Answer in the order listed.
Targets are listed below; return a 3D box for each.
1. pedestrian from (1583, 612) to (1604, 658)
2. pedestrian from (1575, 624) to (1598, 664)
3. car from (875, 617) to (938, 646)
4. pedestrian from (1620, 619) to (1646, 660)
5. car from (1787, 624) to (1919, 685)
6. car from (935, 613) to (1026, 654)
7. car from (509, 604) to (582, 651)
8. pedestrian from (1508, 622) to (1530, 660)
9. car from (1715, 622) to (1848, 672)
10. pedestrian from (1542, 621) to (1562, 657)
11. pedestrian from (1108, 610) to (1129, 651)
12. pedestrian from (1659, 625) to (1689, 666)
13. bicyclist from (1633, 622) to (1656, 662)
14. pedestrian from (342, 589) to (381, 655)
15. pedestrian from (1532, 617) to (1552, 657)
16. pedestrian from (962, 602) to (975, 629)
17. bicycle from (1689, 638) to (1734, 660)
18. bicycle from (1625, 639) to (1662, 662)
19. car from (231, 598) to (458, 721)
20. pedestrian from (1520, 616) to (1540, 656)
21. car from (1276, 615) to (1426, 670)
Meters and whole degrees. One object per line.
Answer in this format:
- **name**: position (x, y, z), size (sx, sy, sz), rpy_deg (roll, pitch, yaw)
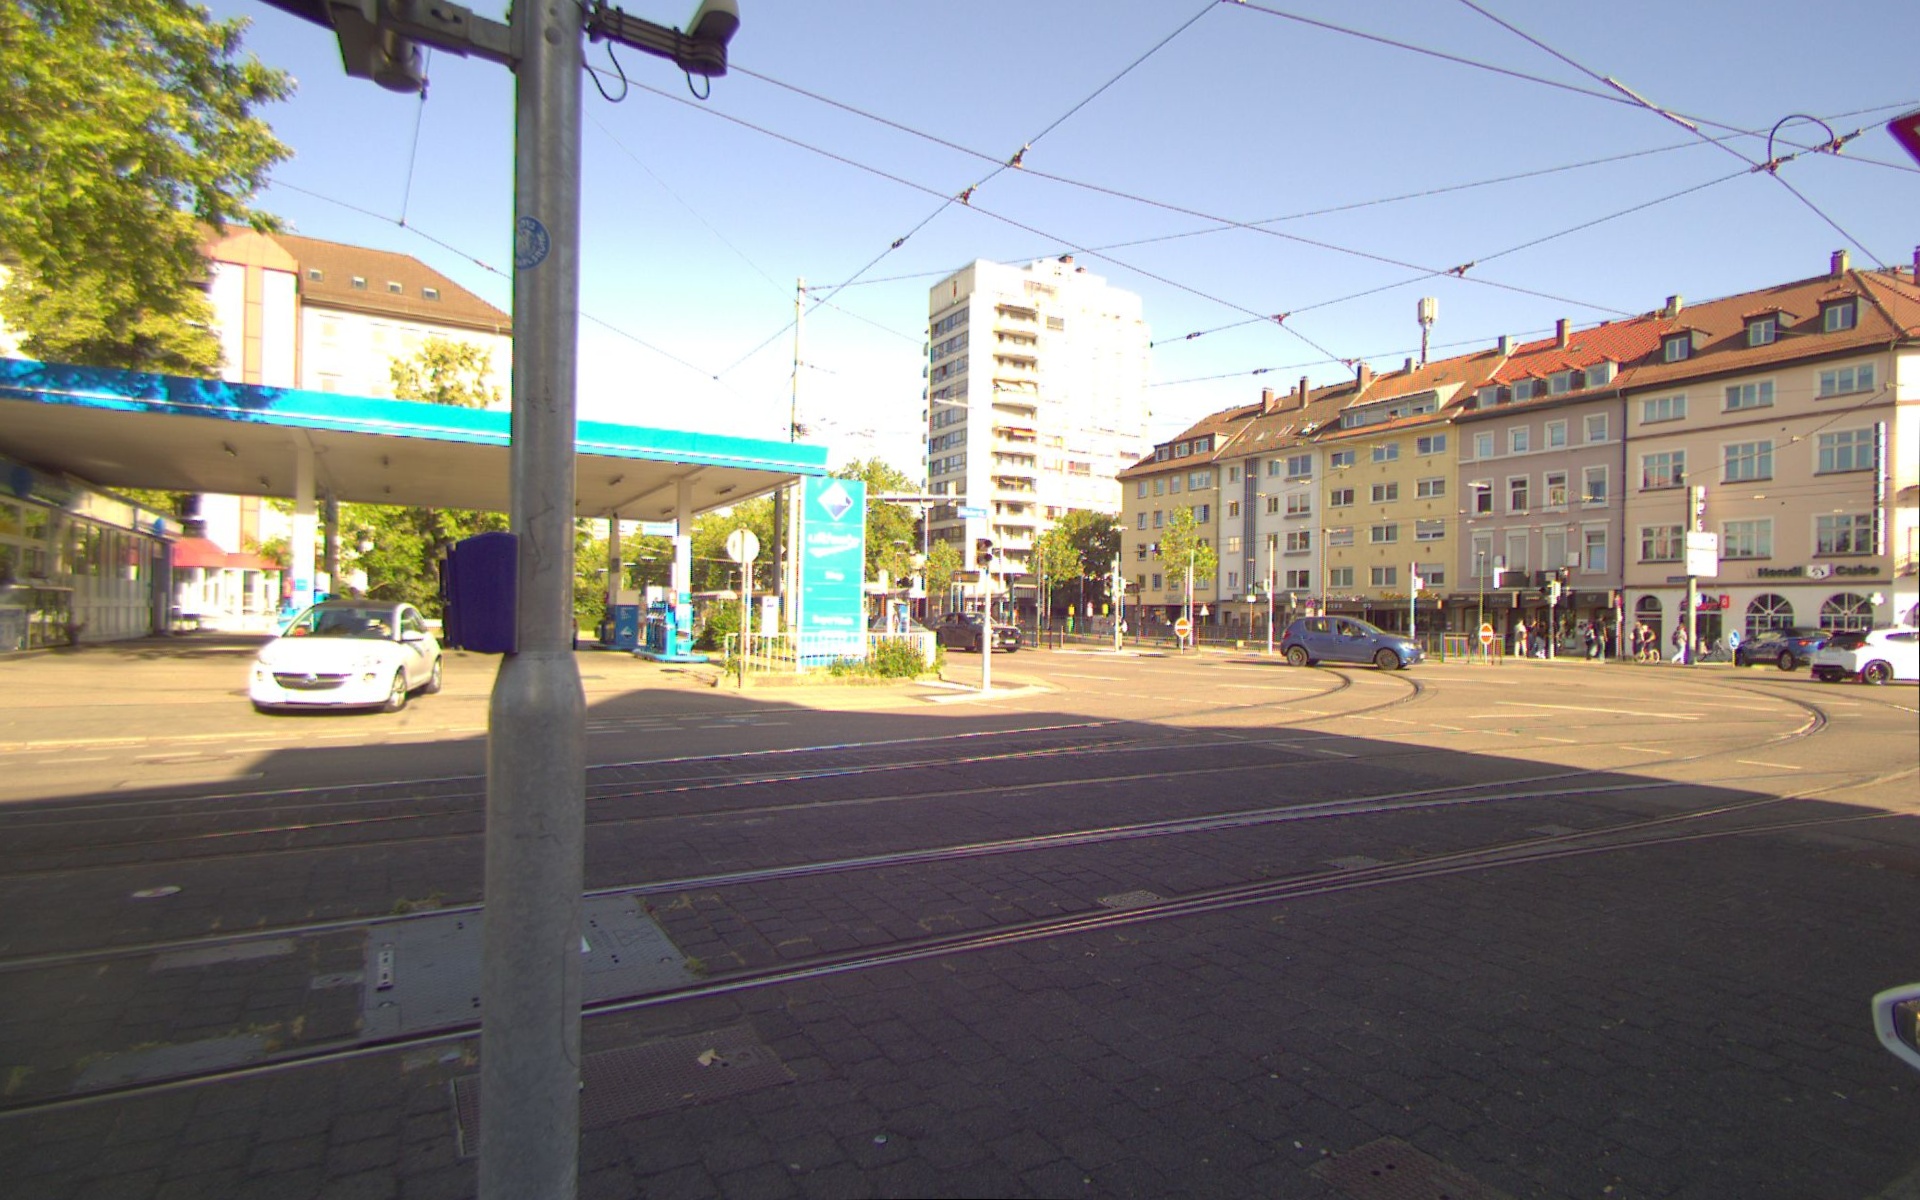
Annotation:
- **pedestrian**: position (25.933, 1.425, 41.117), size (0.672, 1.847, 0.522), rpy_deg (2, 0, -45)
- **pedestrian**: position (26.914, 1.879, 43.149), size (0.719, 1.670, 0.570), rpy_deg (2, 0, -30)
- **car**: position (-2.804, 1.613, 51.999), size (1.712, 1.408, 4.199), rpy_deg (1, -1, -27)
- **pedestrian**: position (28.328, 1.652, 42.262), size (0.831, 1.670, 0.579), rpy_deg (2, 0, -30)
- **car**: position (23.888, 1.362, 25.579), size (3.927, 1.473, 1.900), rpy_deg (0, -1, 7)
- **car**: position (0.790, 1.377, 42.220), size (1.852, 1.623, 4.419), rpy_deg (1, -2, -30)
- **car**: position (-13.516, 0.862, 32.642), size (1.659, 1.372, 3.559), rpy_deg (2, 0, -31)
- **pedestrian**: position (24.934, 1.819, 44.794), size (0.609, 1.670, 0.581), rpy_deg (2, 0, -30)
- **car**: position (29.668, 1.651, 36.445), size (1.794, 1.596, 4.202), rpy_deg (1, 0, 8)
- **pedestrian**: position (24.661, 1.623, 41.845), size (0.550, 1.512, 0.489), rpy_deg (2, 0, -30)
- **pedestrian**: position (6.454, 1.253, 40.903), size (0.750, 1.631, 0.613), rpy_deg (2, 0, 15)
- **pedestrian**: position (28.976, 1.842, 40.766), size (0.805, 1.615, 0.665), rpy_deg (2, 0, -30)
- **bicyclist**: position (32.045, 1.959, 47.048), size (0.606, 1.814, 0.619), rpy_deg (2, 0, -25)
- **pedestrian**: position (-15.871, 0.606, 26.649), size (0.838, 1.724, 0.644), rpy_deg (2, -3, -31)
- **pedestrian**: position (24.480, 1.542, 42.255), size (0.492, 1.670, 0.520), rpy_deg (2, 0, -30)
- **pedestrian**: position (0.721, 1.269, 82.112), size (0.729, 2.127, 0.880), rpy_deg (2, 0, -21)
- **bicycle**: position (37.837, 2.467, 50.591), size (0.603, 0.996, 1.693), rpy_deg (2, 0, -29)
- **bicycle**: position (32.031, 2.356, 47.050), size (1.731, 1.044, 0.619), rpy_deg (2, 0, -25)
- **car**: position (-8.703, 0.766, 14.595), size (1.715, 1.455, 3.923), rpy_deg (2, 1, -15)
- **pedestrian**: position (24.257, 1.538, 42.746), size (0.492, 1.670, 0.520), rpy_deg (2, 0, -30)
- **car**: position (11.584, 1.237, 29.828), size (3.856, 1.523, 1.784), rpy_deg (-1, -2, 36)
